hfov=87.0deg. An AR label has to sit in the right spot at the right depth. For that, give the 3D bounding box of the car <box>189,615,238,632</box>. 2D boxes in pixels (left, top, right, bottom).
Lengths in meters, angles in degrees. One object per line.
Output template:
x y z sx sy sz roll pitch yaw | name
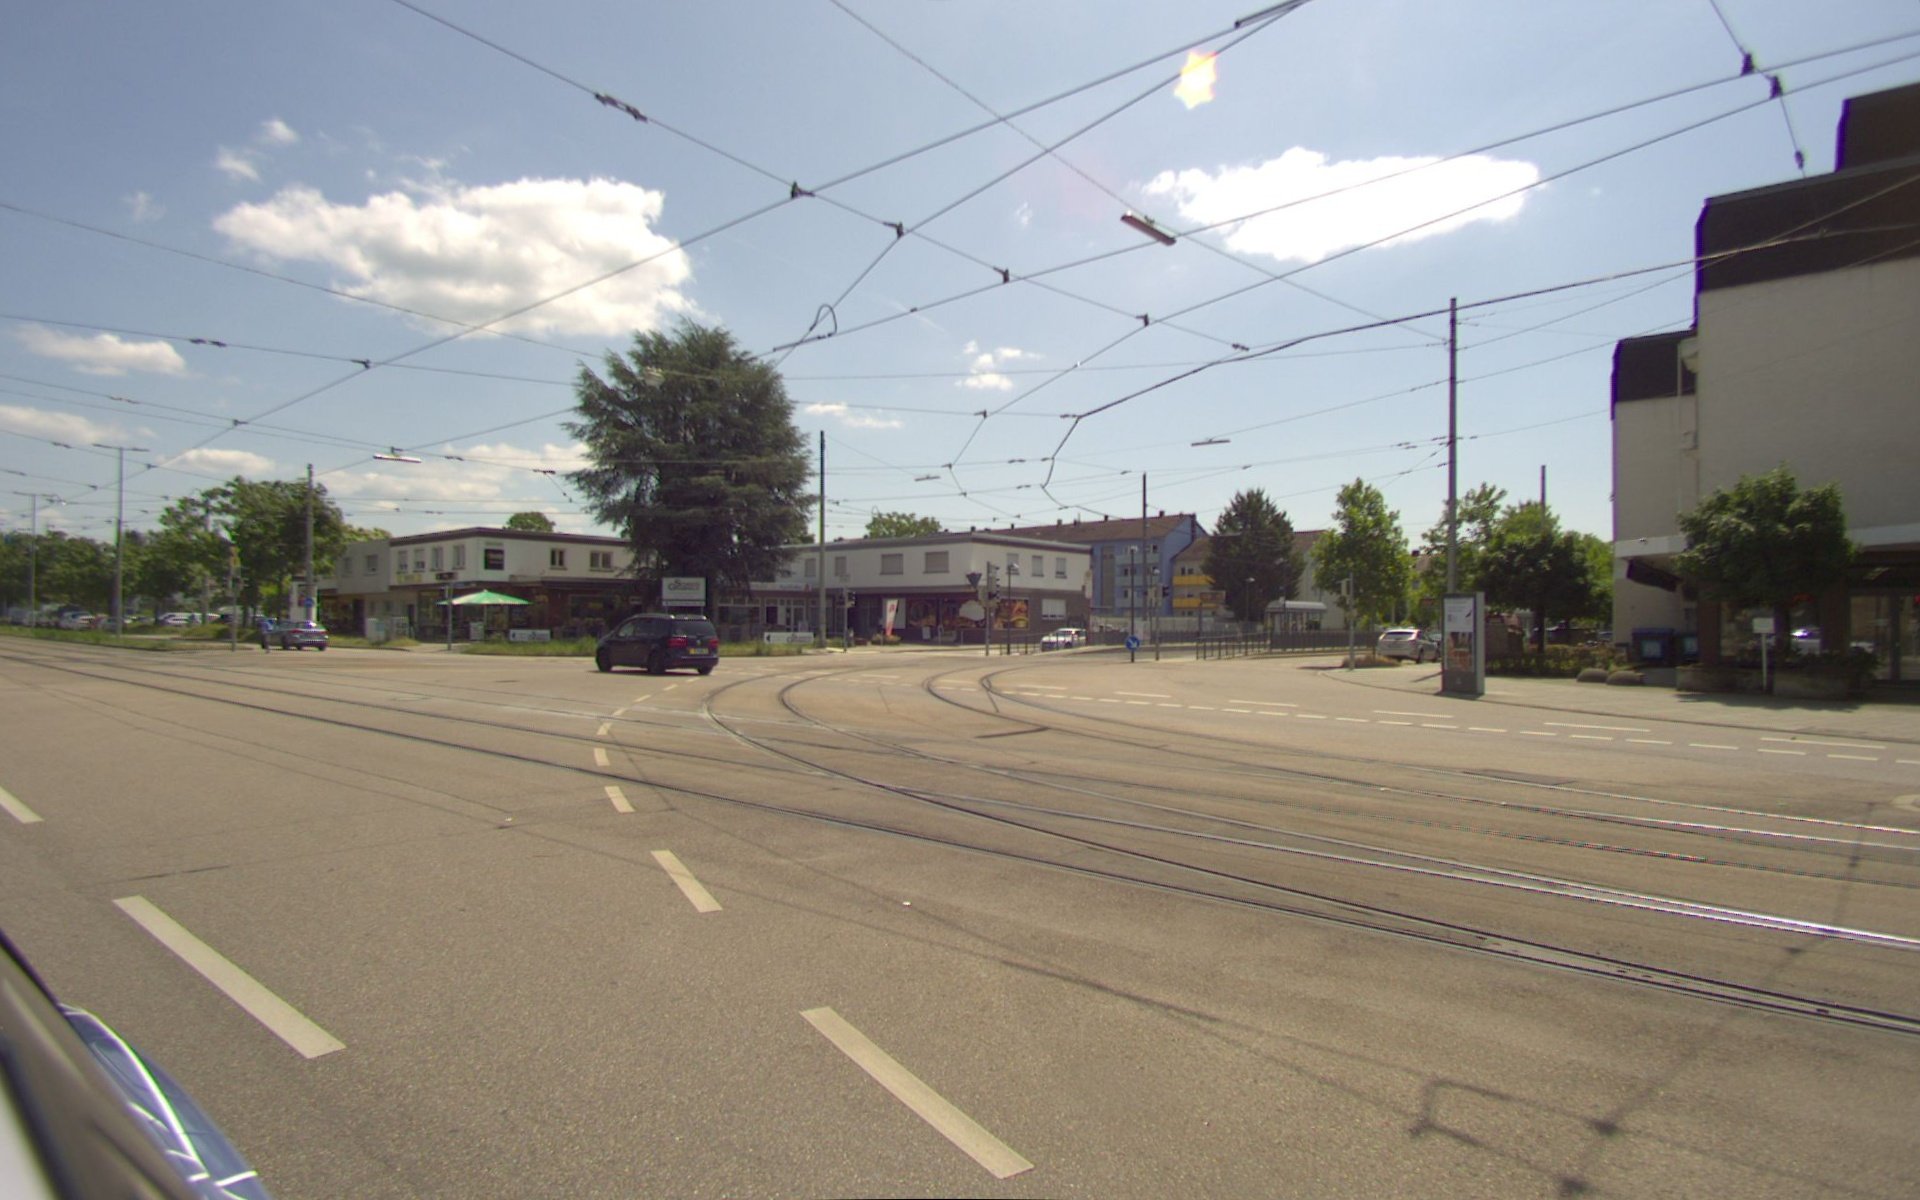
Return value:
-80.626 2.565 109.360 1.902 1.749 3.945 -1 -2 41 | car

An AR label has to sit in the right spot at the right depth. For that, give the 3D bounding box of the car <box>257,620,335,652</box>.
-32.370 1.729 49.312 4.397 1.482 1.973 -1 -2 40 | car

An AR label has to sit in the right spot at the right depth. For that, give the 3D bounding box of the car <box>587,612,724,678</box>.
-8.570 1.219 28.312 4.279 1.696 1.705 -1 -2 42 | car

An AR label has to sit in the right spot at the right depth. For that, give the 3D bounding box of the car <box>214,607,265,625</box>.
-104.236 2.371 146.486 2.256 2.500 5.629 -1 -2 37 | car

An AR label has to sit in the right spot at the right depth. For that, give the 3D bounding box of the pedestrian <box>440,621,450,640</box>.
-33.820 2.009 66.470 0.532 1.278 0.349 -1 -3 41 | pedestrian

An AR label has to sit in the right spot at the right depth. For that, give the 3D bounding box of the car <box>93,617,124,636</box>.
-76.442 2.376 90.832 4.549 1.551 1.560 0 0 42 | car

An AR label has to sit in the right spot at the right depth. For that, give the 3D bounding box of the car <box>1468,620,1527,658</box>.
30.036 2.148 56.496 2.000 2.029 3.944 -1 -3 42 | car

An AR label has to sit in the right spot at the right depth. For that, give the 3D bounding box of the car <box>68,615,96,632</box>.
-84.026 2.243 96.875 4.358 1.551 1.483 0 0 42 | car

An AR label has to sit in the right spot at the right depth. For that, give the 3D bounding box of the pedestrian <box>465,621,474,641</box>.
-31.878 2.003 65.763 0.400 1.255 0.382 -1 -3 41 | pedestrian

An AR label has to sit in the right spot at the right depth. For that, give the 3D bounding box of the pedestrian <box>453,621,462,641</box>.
-32.241 1.999 64.922 0.501 1.278 0.315 -1 -3 41 | pedestrian

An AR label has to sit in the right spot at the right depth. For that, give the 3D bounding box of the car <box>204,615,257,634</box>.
-73.030 2.489 101.316 1.802 1.749 3.945 0 -3 41 | car

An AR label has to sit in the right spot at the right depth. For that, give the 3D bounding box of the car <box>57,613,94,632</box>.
-88.731 2.223 101.485 4.885 1.851 2.128 0 0 41 | car

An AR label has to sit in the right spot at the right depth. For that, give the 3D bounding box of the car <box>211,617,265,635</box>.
-71.213 2.559 99.844 1.878 1.749 3.945 -1 -2 41 | car

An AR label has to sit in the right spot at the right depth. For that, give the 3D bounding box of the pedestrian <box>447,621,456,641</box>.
-33.013 2.011 65.666 0.528 1.278 0.340 -1 -3 43 | pedestrian

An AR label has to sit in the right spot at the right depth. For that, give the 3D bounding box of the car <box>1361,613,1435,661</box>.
18.932 1.590 43.655 1.998 1.927 3.948 -1 -2 39 | car

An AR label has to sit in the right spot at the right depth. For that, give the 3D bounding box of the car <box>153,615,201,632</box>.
-91.455 2.736 118.256 1.802 1.749 4.145 0 -3 41 | car

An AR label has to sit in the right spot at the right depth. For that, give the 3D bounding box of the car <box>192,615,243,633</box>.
-78.788 2.557 107.407 1.802 1.749 3.945 0 -3 41 | car

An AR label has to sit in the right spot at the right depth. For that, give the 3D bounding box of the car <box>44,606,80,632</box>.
-93.510 1.953 105.398 5.031 2.631 2.128 0 0 41 | car

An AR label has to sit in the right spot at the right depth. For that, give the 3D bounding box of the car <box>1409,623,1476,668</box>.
22.904 2.176 47.977 1.998 2.029 3.948 0 -3 39 | car

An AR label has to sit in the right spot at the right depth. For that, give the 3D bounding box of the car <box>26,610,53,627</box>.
-106.067 2.111 116.607 4.646 1.953 1.772 0 0 41 | car

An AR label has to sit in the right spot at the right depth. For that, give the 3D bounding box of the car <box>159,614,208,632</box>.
-85.700 2.560 111.775 1.802 1.749 3.945 0 -3 41 | car

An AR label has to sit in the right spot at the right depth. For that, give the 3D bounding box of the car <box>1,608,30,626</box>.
-120.014 2.120 128.539 4.484 2.117 2.046 0 0 39 | car

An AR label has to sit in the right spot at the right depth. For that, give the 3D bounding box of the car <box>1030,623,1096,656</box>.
5.975 2.298 58.349 1.899 1.738 3.800 0 -3 42 | car
